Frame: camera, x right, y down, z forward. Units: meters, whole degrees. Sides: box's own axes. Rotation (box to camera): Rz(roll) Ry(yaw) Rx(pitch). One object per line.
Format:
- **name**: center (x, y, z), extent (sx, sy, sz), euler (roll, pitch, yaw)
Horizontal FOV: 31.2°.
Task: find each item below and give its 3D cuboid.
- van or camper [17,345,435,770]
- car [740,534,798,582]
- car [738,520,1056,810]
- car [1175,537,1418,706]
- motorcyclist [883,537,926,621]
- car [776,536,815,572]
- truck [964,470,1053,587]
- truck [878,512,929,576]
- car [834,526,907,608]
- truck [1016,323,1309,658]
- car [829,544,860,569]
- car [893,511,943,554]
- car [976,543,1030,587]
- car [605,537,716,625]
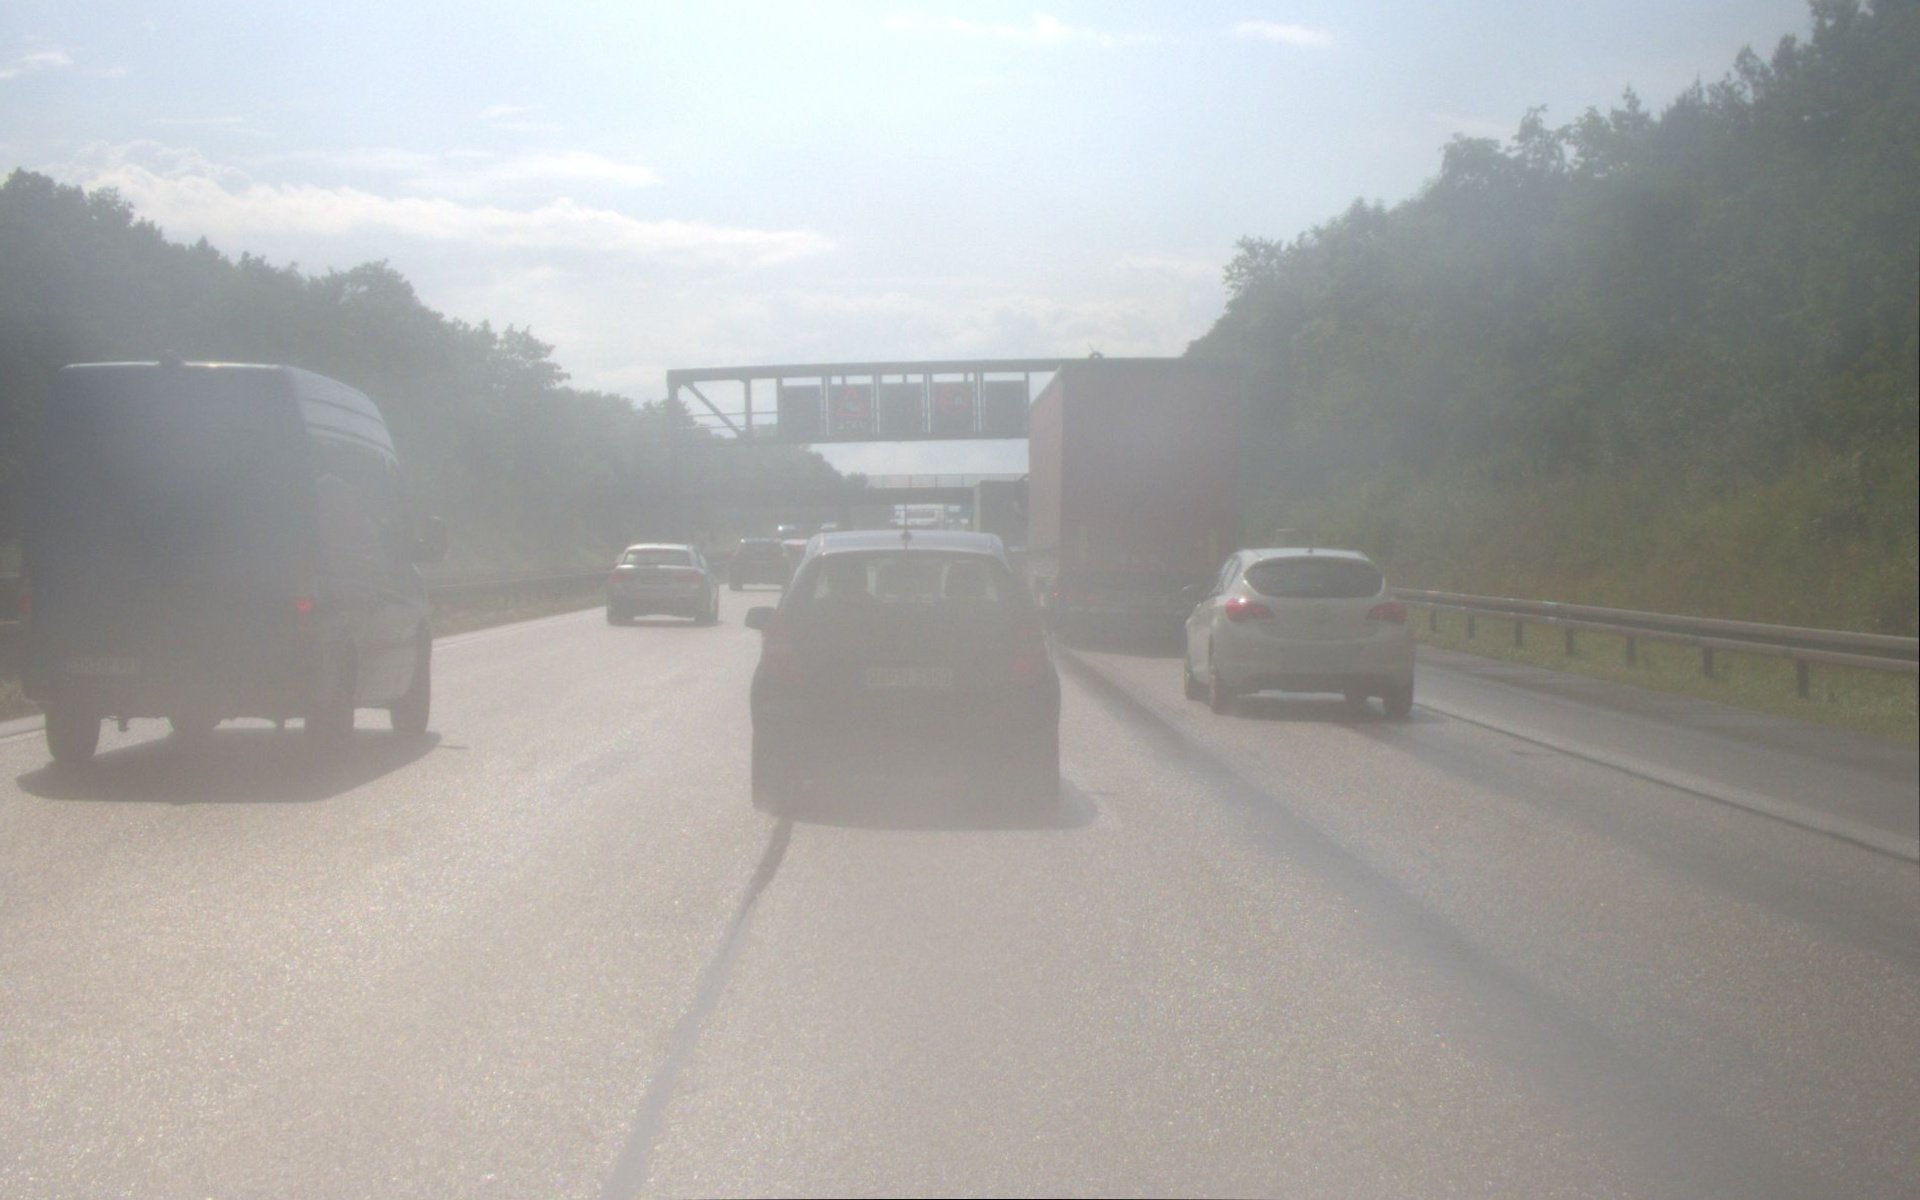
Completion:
- **van or camper**: center (-5.045, -0.307, 24.396), extent (1.993, 2.659, 5.385), euler (1, 1, -2)
- **car**: center (-5.977, -1.325, 107.743), extent (1.751, 1.452, 3.390), euler (1, 1, -2)
- **car**: center (-0.416, 0.332, 20.537), extent (1.717, 1.562, 3.485), euler (1, 1, -2)
- **car**: center (3.037, 0.156, 31.707), extent (1.680, 1.437, 3.905), euler (1, 1, -2)
- **motorcyclist**: center (-1.093, -0.424, 67.948), extent (0.801, 1.627, 1.013), euler (1, 1, -2)
- **car**: center (-6.403, -1.794, 133.971), extent (1.460, 1.389, 3.312), euler (1, 1, -2)
- **truck**: center (1.879, -2.869, 139.127), extent (3.256, 4.464, 12.422), euler (1, 1, -1)
- **truck**: center (-2.602, -2.583, 158.544), extent (2.192, 2.865, 4.850), euler (1, 1, -2)
- **car**: center (-1.980, -0.737, 75.365), extent (1.531, 1.740, 3.485), euler (1, 1, -2)
- **truck**: center (3.012, -1.682, 57.245), extent (3.650, 4.704, 16.780), euler (1, 1, -1)
- **car**: center (-6.155, -2.319, 182.680), extent (1.549, 1.262, 3.485), euler (1, 1, -3)
- **car**: center (-1.398, -2.222, 113.348), extent (1.552, 1.378, 3.210), euler (1, 1, -2)
- **car**: center (1.369, -1.136, 110.732), extent (1.552, 1.378, 3.210), euler (1, 1, -2)
- **car**: center (-5.461, -0.364, 63.023), extent (1.854, 1.546, 3.485), euler (1, 1, -2)
